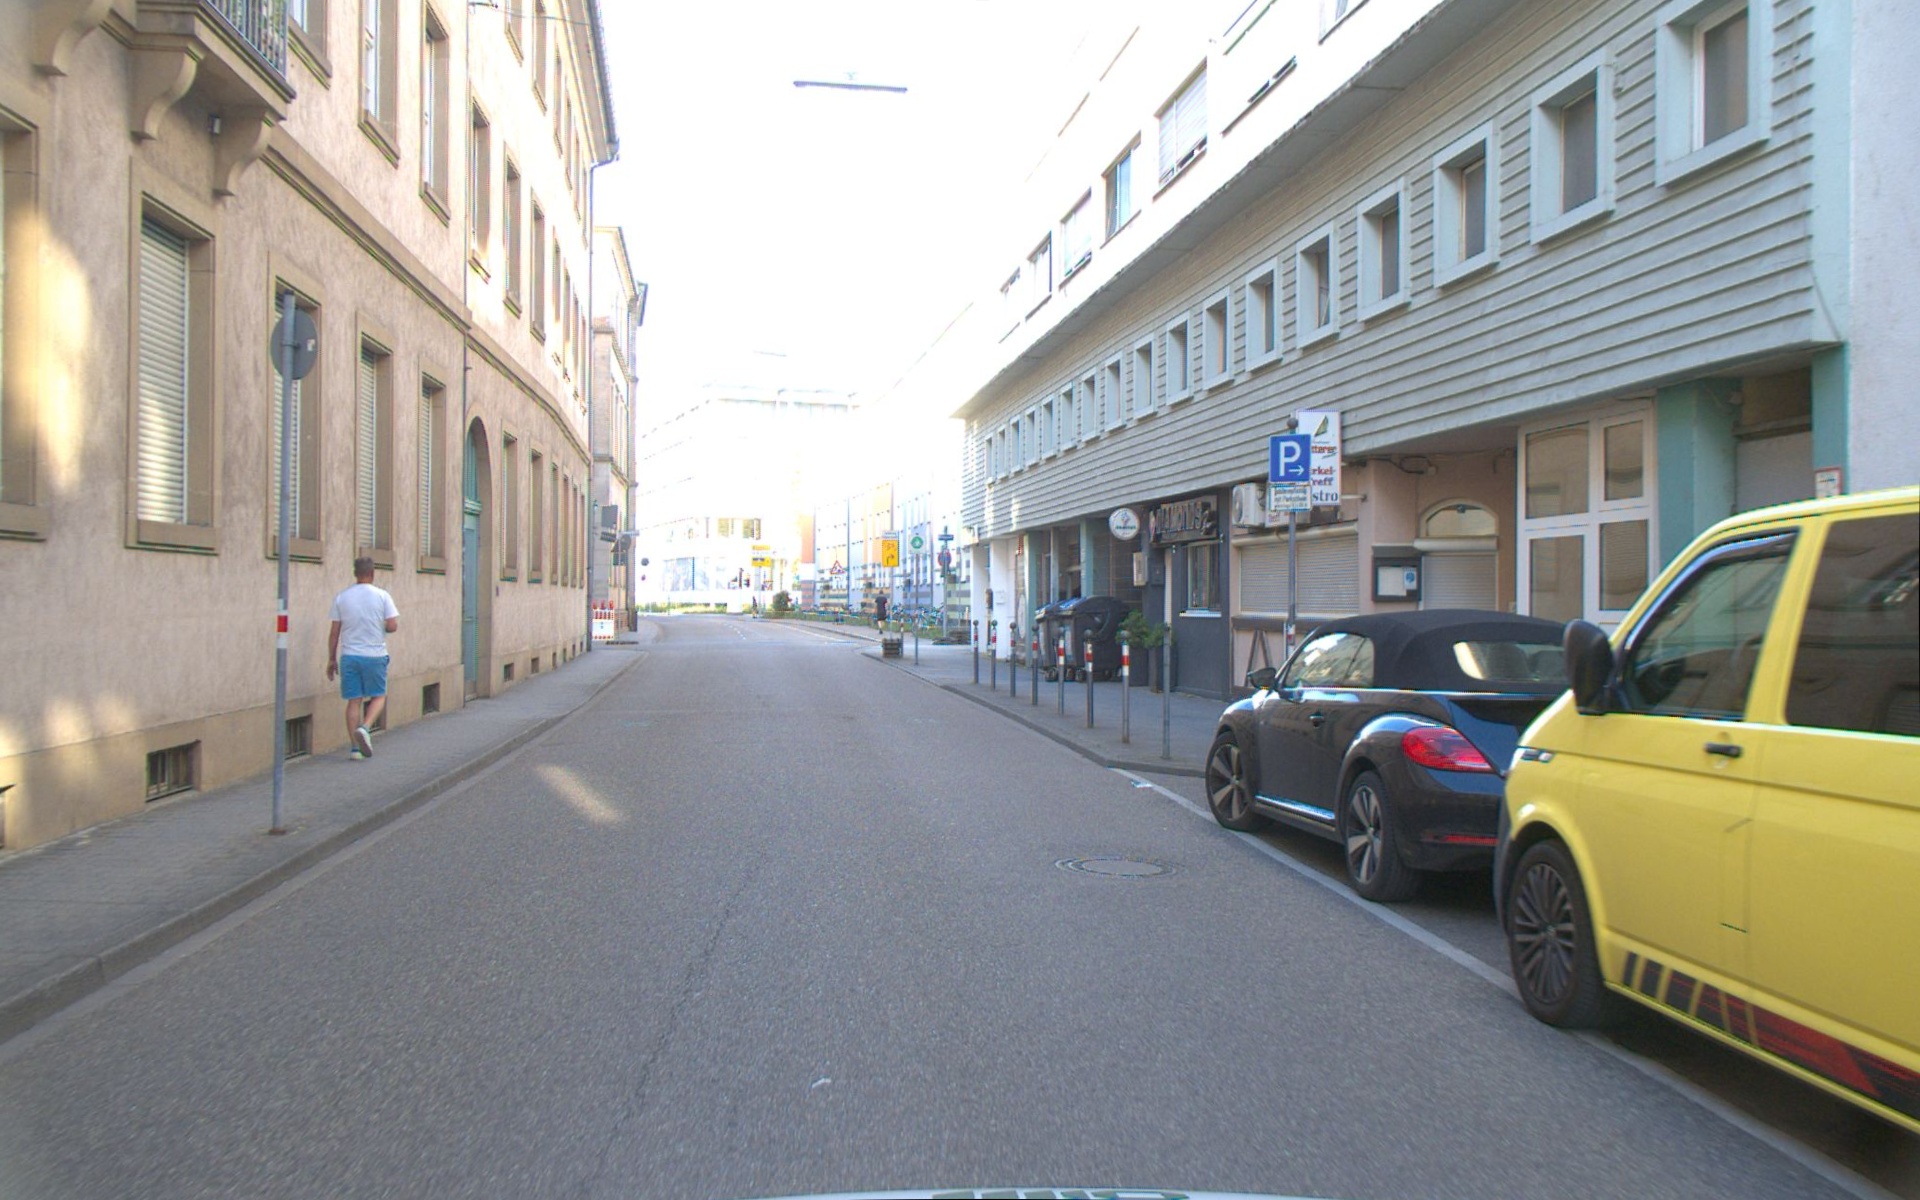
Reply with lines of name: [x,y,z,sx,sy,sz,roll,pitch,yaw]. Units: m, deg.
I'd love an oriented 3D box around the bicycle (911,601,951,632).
bicycle: [-1.150,0.662,66.123,1.578,1.161,0.236,-3,1,-19]

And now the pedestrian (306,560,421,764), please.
pedestrian: [-5.189,0.529,14.427,0.679,1.699,0.874,2,-1,-6]

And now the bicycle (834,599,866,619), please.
bicycle: [-6.283,0.509,94.576,1.778,1.157,0.550,0,-1,-12]

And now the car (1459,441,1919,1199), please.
car: [3.231,0.581,4.589,1.847,1.915,4.840,1,0,-5]

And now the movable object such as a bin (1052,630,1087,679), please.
movable object such as a bin: [2.064,1.032,31.277,0.546,0.915,0.522,-1,-2,-8]

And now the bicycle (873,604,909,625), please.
bicycle: [-3.332,0.704,79.948,1.716,0.963,0.325,-1,-1,-10]

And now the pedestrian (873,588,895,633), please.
pedestrian: [-3.132,0.420,67.905,0.684,1.790,1.186,-2,0,-10]

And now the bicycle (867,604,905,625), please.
bicycle: [-3.528,0.709,78.896,1.717,0.963,0.550,-1,-1,-11]

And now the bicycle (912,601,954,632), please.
bicycle: [-1.065,0.661,65.862,1.616,1.161,0.282,-3,1,-19]

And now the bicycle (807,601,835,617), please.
bicycle: [-9.125,0.591,108.431,1.724,1.021,0.611,-1,0,-15]

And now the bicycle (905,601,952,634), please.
bicycle: [-1.212,0.682,64.401,1.717,1.161,0.550,-3,1,-11]

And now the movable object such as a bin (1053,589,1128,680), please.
movable object such as a bin: [2.248,0.612,28.749,0.963,1.506,1.548,-1,-2,-8]

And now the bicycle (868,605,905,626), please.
bicycle: [-3.470,0.725,78.120,1.717,0.963,0.550,-1,-1,-11]

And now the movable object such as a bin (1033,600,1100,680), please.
movable object such as a bin: [1.937,0.731,30.251,0.963,1.409,1.318,-1,-2,-8]

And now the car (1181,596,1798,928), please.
car: [2.795,0.759,9.915,1.848,1.515,4.361,1,0,-7]
